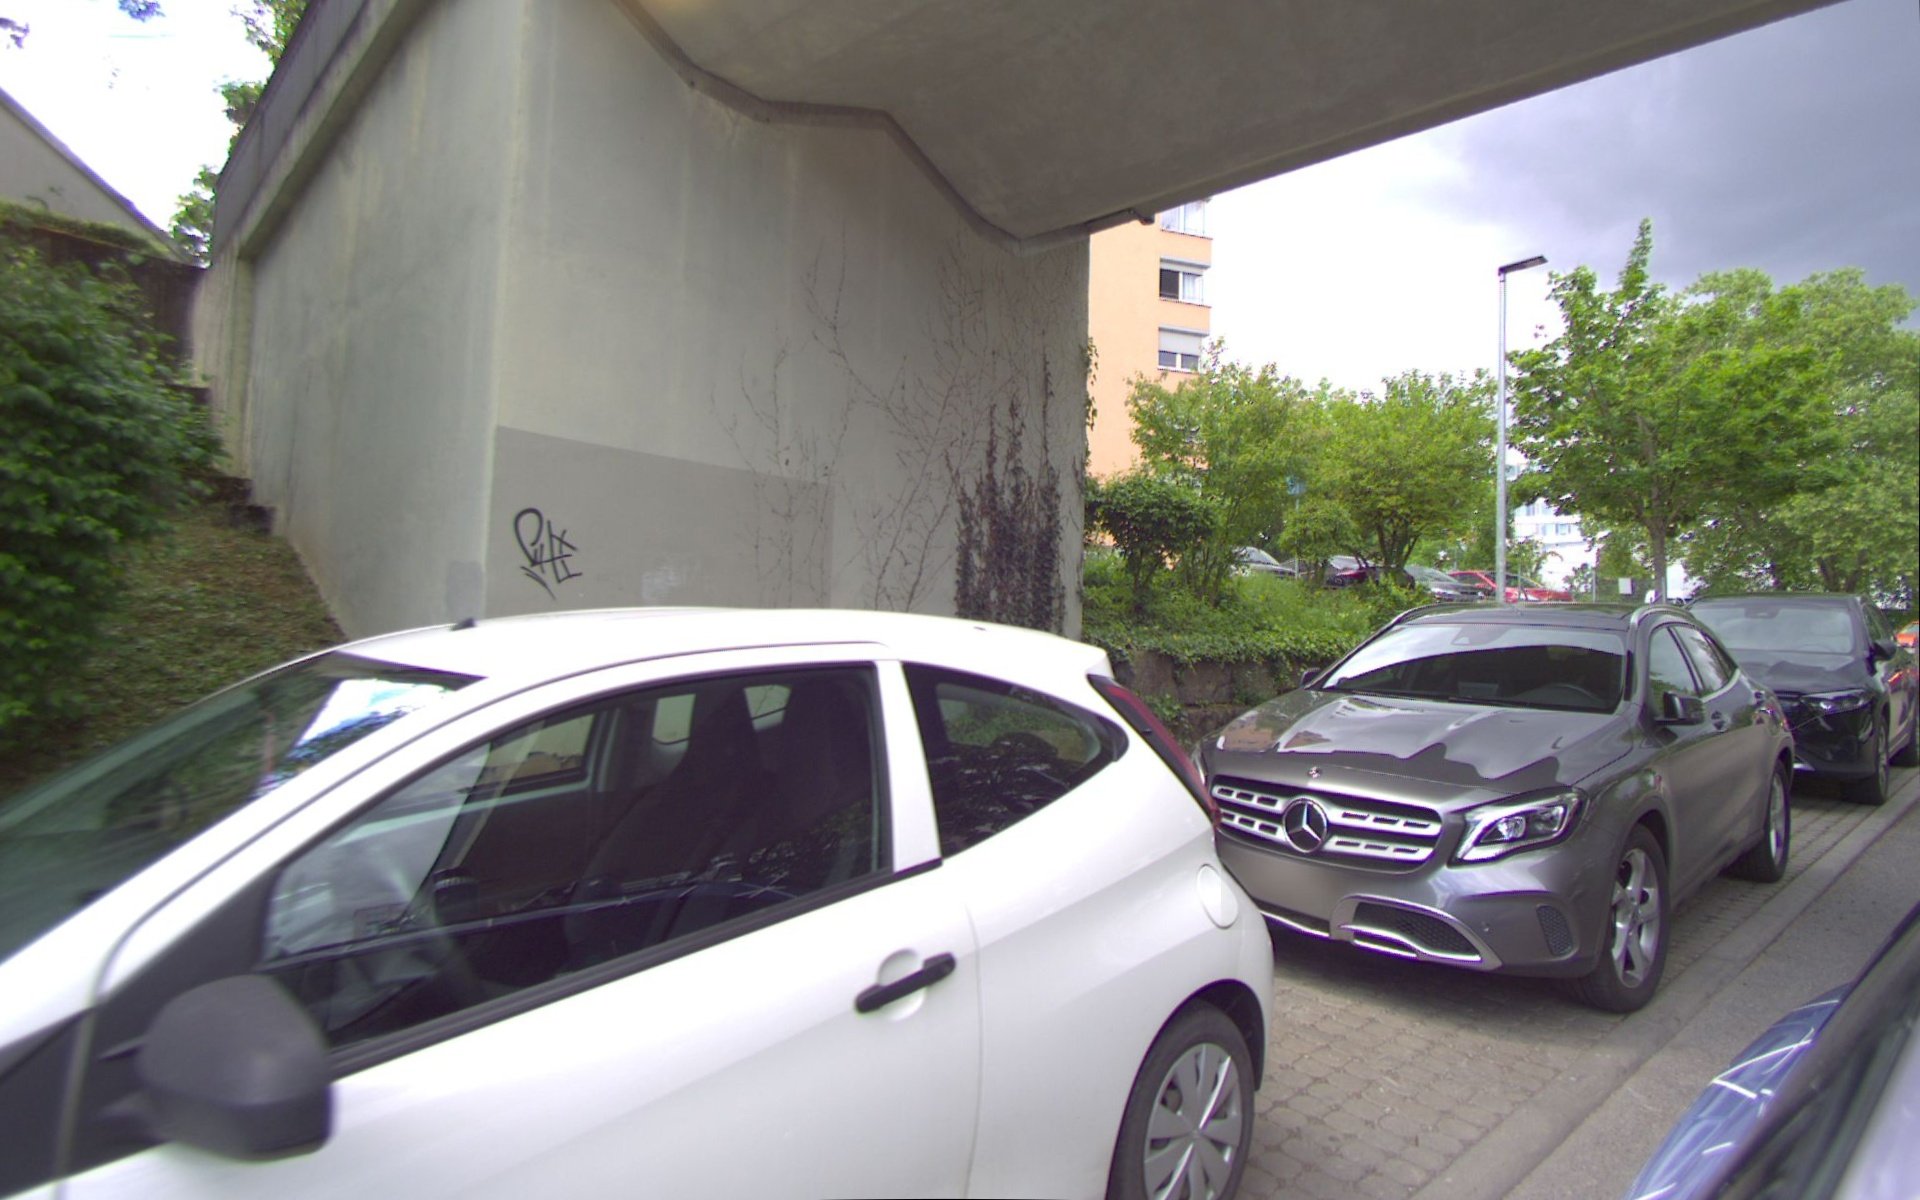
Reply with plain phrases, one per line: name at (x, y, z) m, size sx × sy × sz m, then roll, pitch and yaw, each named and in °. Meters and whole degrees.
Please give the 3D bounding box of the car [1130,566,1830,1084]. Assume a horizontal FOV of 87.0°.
car at (2.786, 0.673, 4.962) m, size 4.047 × 1.515 × 1.702 m, roll 1°, pitch -1°, yaw -41°

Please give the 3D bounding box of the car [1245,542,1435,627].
car at (7.542, -0.231, 20.474) m, size 1.649 × 1.517 × 3.668 m, roll 1°, pitch -2°, yaw -18°

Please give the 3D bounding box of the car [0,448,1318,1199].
car at (-0.836, 0.626, 1.988) m, size 3.274 × 1.515 × 1.564 m, roll 1°, pitch -1°, yaw -43°

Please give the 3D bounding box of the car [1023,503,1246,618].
car at (2.937, -0.577, 18.212) m, size 1.903 × 1.690 × 4.566 m, roll 2°, pitch -2°, yaw -21°

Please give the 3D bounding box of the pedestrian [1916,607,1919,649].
pedestrian at (38.959, 1.112, 40.447) m, size 0.580 × 1.678 × 0.873 m, roll 2°, pitch -3°, yaw -25°

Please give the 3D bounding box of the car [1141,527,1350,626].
car at (5.398, -0.353, 19.703) m, size 1.903 × 1.635 × 4.006 m, roll 1°, pitch -2°, yaw -21°

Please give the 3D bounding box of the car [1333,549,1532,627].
car at (9.838, -0.171, 21.403) m, size 1.649 × 1.440 × 3.806 m, roll 1°, pitch -2°, yaw -18°

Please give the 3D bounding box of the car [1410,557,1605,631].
car at (12.016, -0.056, 22.481) m, size 1.649 × 1.458 × 3.668 m, roll 1°, pitch -2°, yaw -18°

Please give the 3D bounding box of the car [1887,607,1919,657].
car at (30.990, 1.018, 31.548) m, size 3.917 × 1.535 × 1.762 m, roll 2°, pitch -3°, yaw -26°

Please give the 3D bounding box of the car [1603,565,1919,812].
car at (7.473, 0.635, 9.091) m, size 4.295 × 1.699 × 1.816 m, roll 2°, pitch -1°, yaw -43°

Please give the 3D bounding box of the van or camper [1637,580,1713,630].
van or camper at (42.819, 0.371, 60.707) m, size 2.083 × 2.835 × 4.461 m, roll 0°, pitch -2°, yaw 13°
